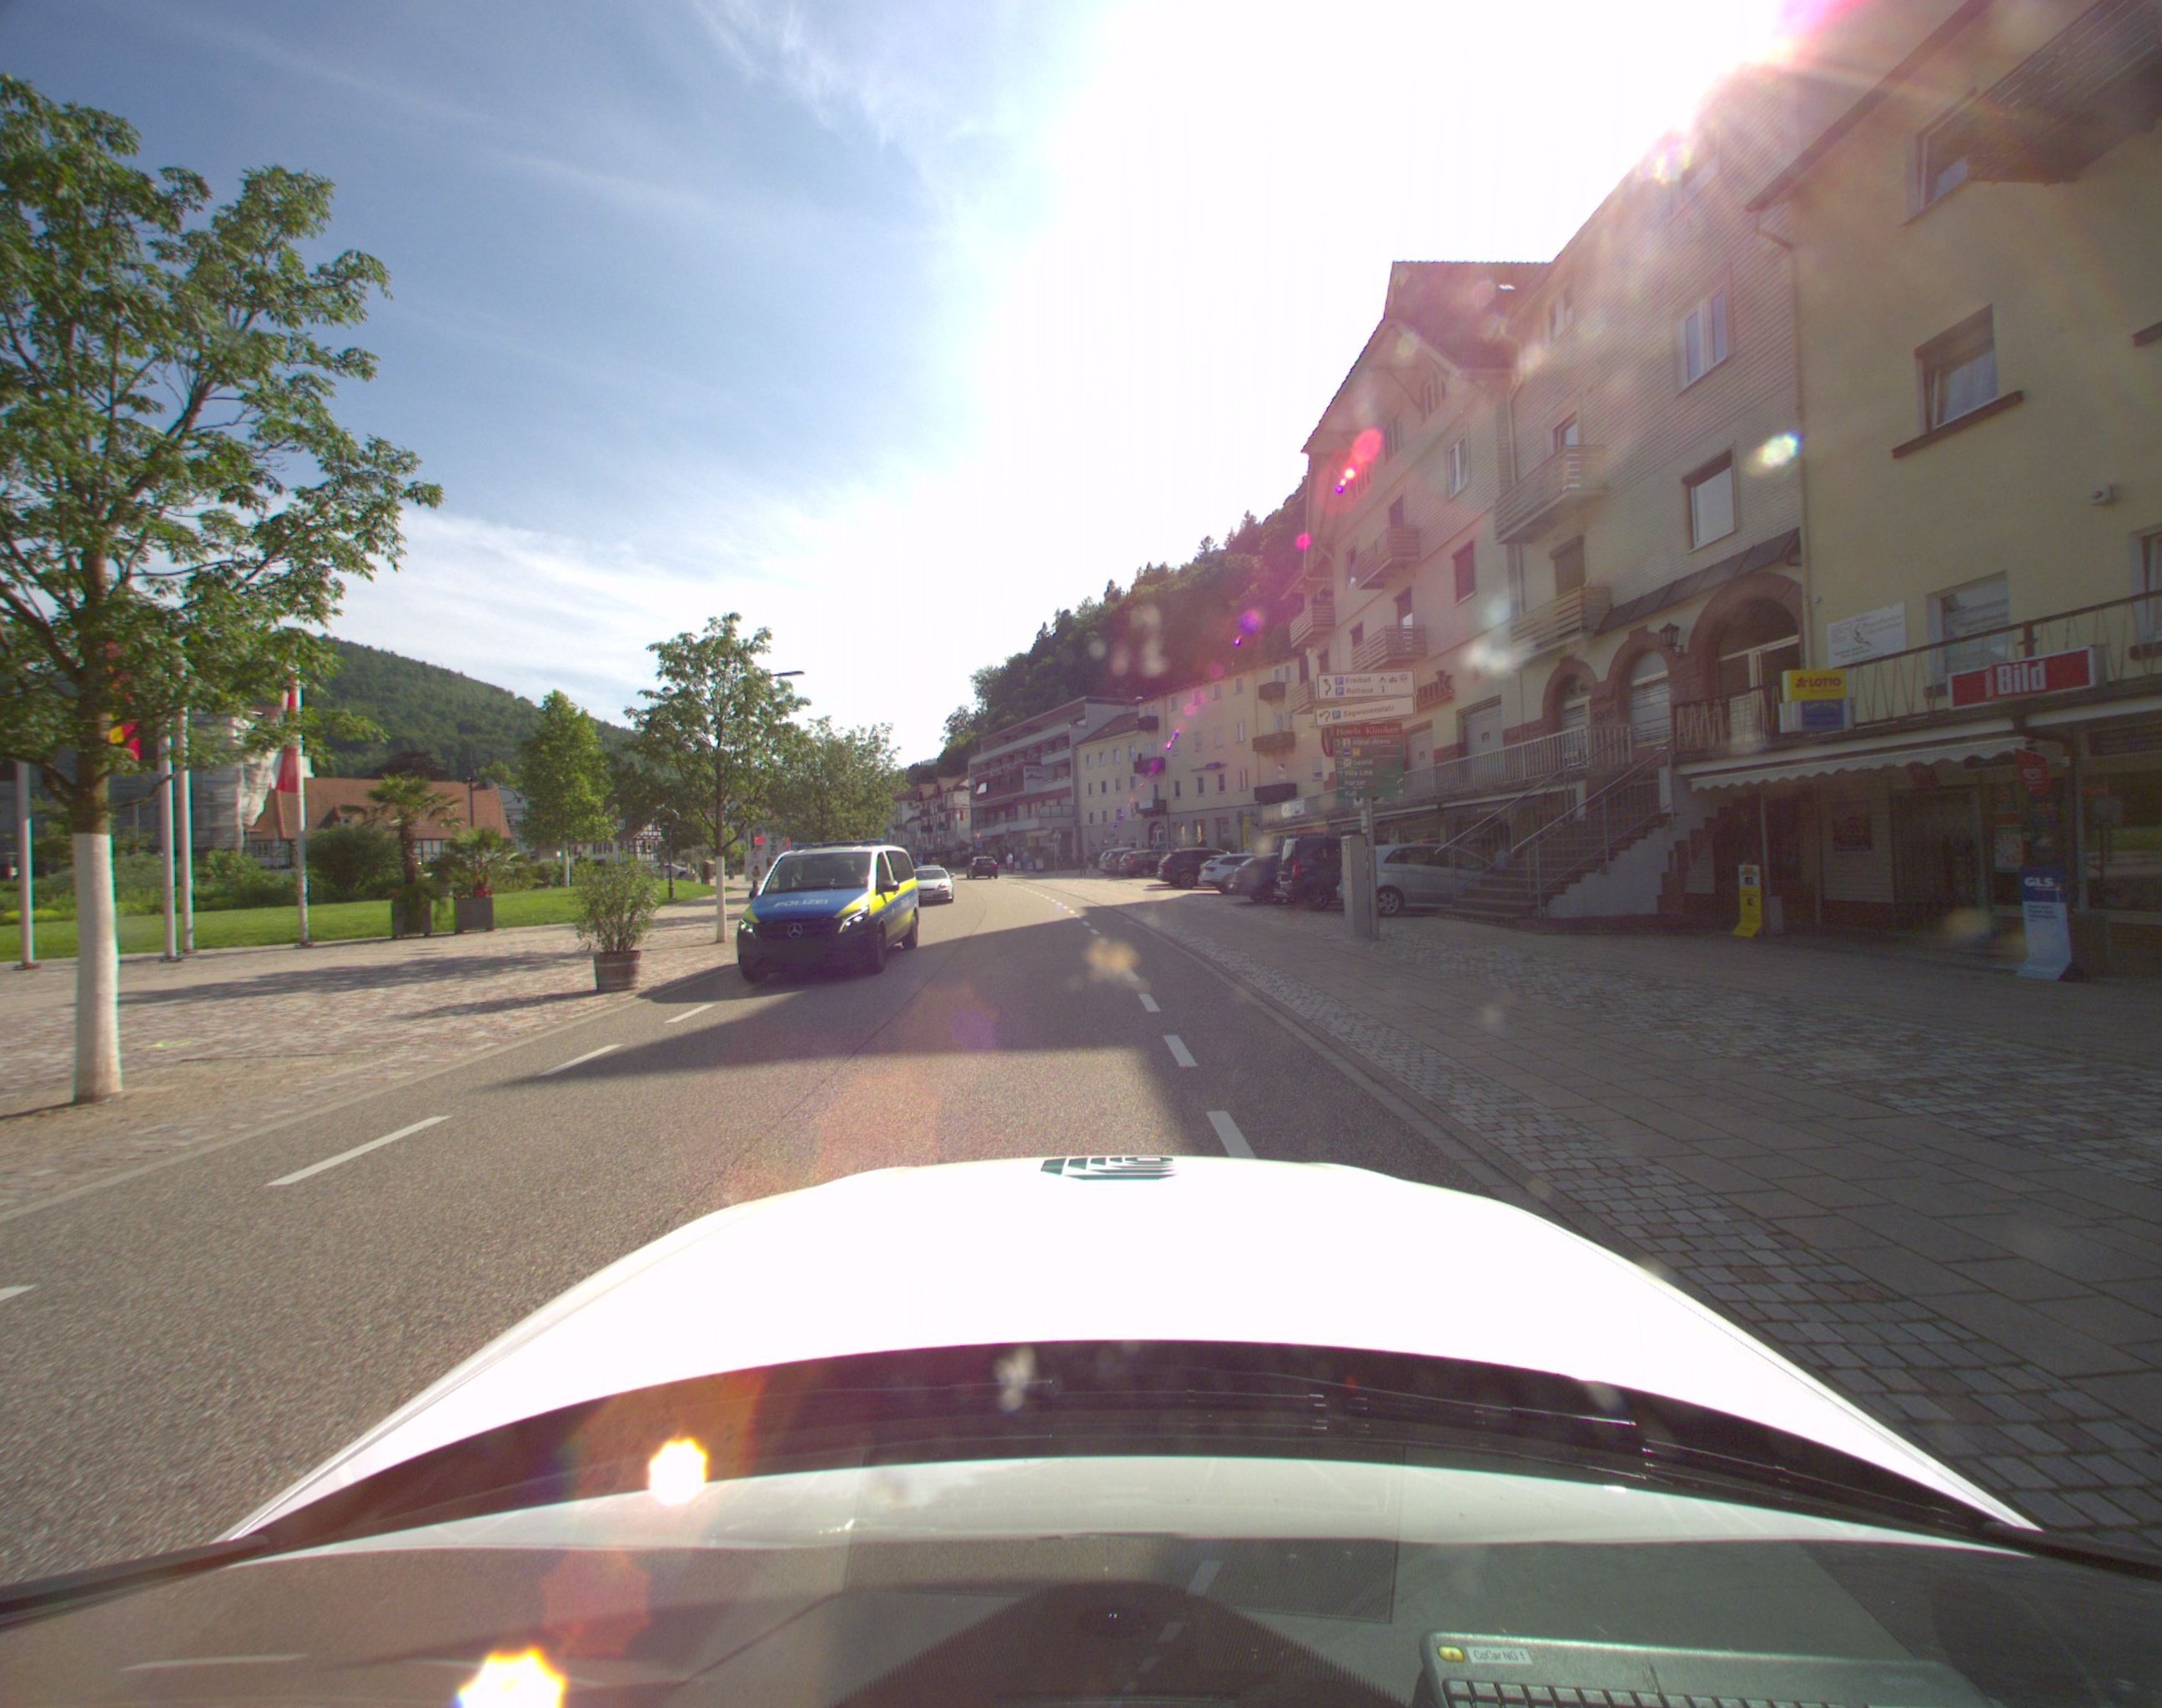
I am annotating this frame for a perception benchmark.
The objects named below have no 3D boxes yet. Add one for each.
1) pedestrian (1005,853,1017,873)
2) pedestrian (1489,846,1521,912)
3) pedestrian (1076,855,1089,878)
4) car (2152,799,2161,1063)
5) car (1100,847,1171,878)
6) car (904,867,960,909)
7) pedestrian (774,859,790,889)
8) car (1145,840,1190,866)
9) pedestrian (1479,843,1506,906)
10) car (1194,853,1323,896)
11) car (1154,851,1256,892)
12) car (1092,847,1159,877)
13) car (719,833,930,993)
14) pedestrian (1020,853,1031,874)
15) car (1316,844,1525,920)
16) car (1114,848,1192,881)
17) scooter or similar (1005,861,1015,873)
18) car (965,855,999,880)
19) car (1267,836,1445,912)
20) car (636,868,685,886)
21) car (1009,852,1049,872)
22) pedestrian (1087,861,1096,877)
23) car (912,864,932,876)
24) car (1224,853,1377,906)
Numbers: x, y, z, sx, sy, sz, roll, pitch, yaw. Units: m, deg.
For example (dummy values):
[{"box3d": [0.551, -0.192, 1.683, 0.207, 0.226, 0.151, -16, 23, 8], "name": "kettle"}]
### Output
[{"box3d": [-5.744, 0.747, 66.491, 0.761, 1.594, 0.623, -2, -1, -25], "name": "pedestrian"}, {"box3d": [10.985, 0.639, 21.100, 0.457, 1.658, 0.432, -4, -1, -20], "name": "pedestrian"}, {"box3d": [0.092, 0.831, 53.905, 0.732, 1.442, 0.633, -4, 0, 1], "name": "pedestrian"}, {"box3d": [8.360, 0.444, 4.138, 3.853, 1.555, 1.757, 0, -1, -5], "name": "car"}, {"box3d": [3.351, 0.528, 50.065, 3.878, 1.549, 1.759, -5, 2, -23], "name": "car"}, {"box3d": [-5.553, 1.230, 30.771, 1.625, 1.370, 4.056, -4, 0, -5], "name": "car"}, {"box3d": [-18.026, 1.197, 49.083, 0.871, 1.815, 0.686, -2, -1, -24], "name": "pedestrian"}, {"box3d": [7.143, -0.094, 67.490, 1.870, 2.013, 3.640, -1, 1, -33], "name": "car"}, {"box3d": [11.010, 0.543, 21.800, 0.409, 1.658, 0.435, -4, -1, 5], "name": "pedestrian"}, {"box3d": [6.439, 0.751, 29.866, 4.342, 1.461, 1.772, -1, -2, 0], "name": "car"}, {"box3d": [5.240, 0.723, 34.874, 4.073, 1.666, 1.771, 1, -1, -2], "name": "car"}, {"box3d": [2.859, 0.505, 52.792, 3.878, 1.612, 1.759, -5, 2, -23], "name": "car"}, {"box3d": [-3.793, 0.790, 13.091, 1.850, 1.953, 5.013, -4, -1, -2], "name": "car"}, {"box3d": [-4.537, 0.791, 66.515, 0.672, 1.728, 0.702, -2, -1, -25], "name": "pedestrian"}, {"box3d": [7.399, 0.585, 17.972, 3.899, 1.589, 1.773, 0, 0, -2], "name": "car"}, {"box3d": [4.123, 0.575, 46.668, 4.027, 1.516, 1.759, -5, 2, -23], "name": "car"}, {"box3d": [-5.808, 1.099, 66.649, 0.599, 0.951, 0.470, -2, -1, -25], "name": "scooter or similar"}, {"box3d": [-7.046, 0.907, 57.543, 1.731, 1.574, 3.731, -2, 1, -17], "name": "car"}, {"box3d": [6.884, 0.514, 20.672, 3.899, 1.804, 1.856, 1, -1, -2], "name": "car"}, {"box3d": [-41.521, 2.235, 80.458, 4.194, 1.616, 1.674, -2, -1, -29], "name": "car"}, {"box3d": [-4.683, 0.718, 72.854, 3.177, 1.663, 1.582, -2, 0, -23], "name": "car"}, {"box3d": [0.683, 0.995, 53.839, 0.414, 1.002, 0.533, -4, 0, 15], "name": "pedestrian"}, {"box3d": [-22.540, 2.226, 115.393, 1.685, 1.620, 3.965, -1, 0, -27], "name": "car"}, {"box3d": [6.223, 0.711, 23.357, 3.899, 1.461, 1.734, 0, -1, -2], "name": "car"}]
